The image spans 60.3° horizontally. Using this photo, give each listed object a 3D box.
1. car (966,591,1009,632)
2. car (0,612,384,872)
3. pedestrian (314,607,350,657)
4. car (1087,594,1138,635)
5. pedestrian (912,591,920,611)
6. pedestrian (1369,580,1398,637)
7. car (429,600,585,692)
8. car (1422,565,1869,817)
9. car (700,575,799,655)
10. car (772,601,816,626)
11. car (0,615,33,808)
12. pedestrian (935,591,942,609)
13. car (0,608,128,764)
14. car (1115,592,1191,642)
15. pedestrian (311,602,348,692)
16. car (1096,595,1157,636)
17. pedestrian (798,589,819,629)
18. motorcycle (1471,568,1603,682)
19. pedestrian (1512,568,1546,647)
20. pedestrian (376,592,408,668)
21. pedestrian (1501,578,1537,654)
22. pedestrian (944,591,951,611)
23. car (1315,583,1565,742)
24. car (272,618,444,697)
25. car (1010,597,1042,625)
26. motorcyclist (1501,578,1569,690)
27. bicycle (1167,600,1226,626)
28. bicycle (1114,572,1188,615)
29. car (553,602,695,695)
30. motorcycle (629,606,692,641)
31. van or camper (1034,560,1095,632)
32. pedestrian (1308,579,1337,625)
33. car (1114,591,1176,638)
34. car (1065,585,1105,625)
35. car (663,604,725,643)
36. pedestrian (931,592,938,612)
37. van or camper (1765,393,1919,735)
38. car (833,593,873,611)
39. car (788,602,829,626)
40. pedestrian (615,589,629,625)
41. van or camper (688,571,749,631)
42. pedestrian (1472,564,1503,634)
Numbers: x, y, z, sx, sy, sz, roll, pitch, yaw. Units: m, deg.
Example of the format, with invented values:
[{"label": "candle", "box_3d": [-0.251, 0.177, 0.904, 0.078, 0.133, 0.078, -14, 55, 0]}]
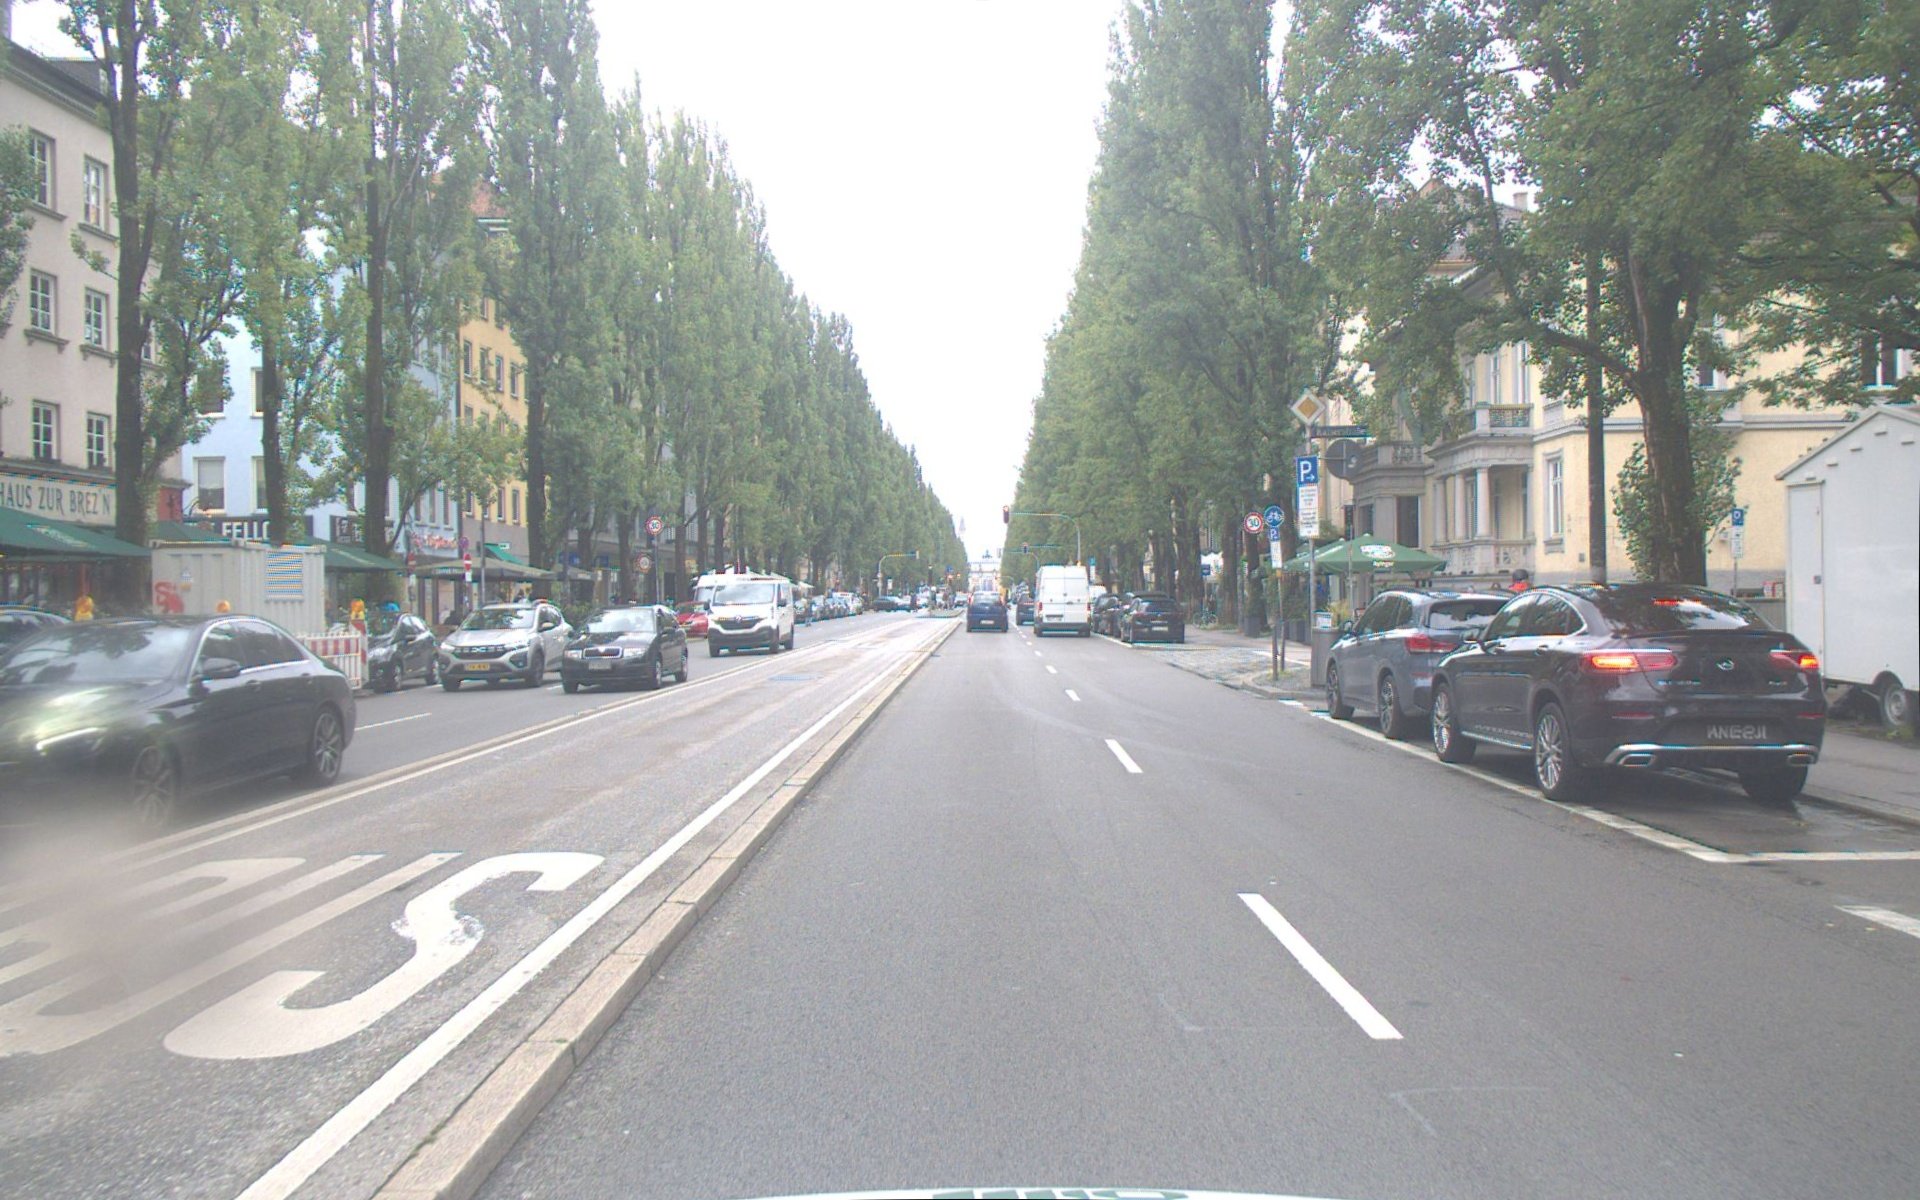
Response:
[{"label": "car", "box_3d": [1.126, 0.475, 67.406, 1.723, 1.648, 3.747, 0, -1, 1]}, {"label": "car", "box_3d": [-6.106, 0.890, 12.223, 1.953, 1.457, 4.772, -2, 0, 0]}, {"label": "pedestrian", "box_3d": [-20.068, 1.015, 52.865, 0.778, 1.569, 0.898, -1, 0, 0]}, {"label": "car", "box_3d": [6.185, 0.601, 67.423, 1.767, 1.624, 4.000, 0, -1, 0]}, {"label": "pedestrian", "box_3d": [-3.850, 0.102, 144.749, 0.541, 1.746, 0.493, -2, 0, 1]}, {"label": "pedestrian", "box_3d": [14.302, 0.273, 55.895, 0.745, 1.886, 0.740, -1, 0, -3]}, {"label": "car", "box_3d": [-8.424, 0.830, 31.115, 1.788, 1.559, 4.000, -2, -1, 0]}, {"label": "car", "box_3d": [5.287, 0.606, 13.512, 1.842, 1.670, 4.584, -1, 0, 2]}, {"label": "car", "box_3d": [-5.694, 0.408, 45.338, 1.953, 1.967, 4.918, -3, -1, 0]}, {"label": "car", "box_3d": [-9.766, 0.789, 97.481, 1.951, 1.445, 4.002, 0, -1, 4]}, {"label": "car", "box_3d": [-8.871, 0.928, 12.049, 1.810, 1.592, 4.212, -1, -1, 0]}, {"label": "pedestrian", "box_3d": [-2.385, 0.011, 184.770, 0.754, 2.049, 0.897, 0, -1, 0]}, {"label": "car", "box_3d": [-11.034, 0.948, 17.817, 1.810, 1.592, 4.334, -1, 1, 2]}, {"label": "car", "box_3d": [6.072, 0.504, 52.390, 1.904, 1.493, 4.000, -1, 0, 0]}, {"label": "pedestrian", "box_3d": [-12.320, 0.906, 32.331, 0.471, 1.731, 0.575, -1, 0, 0]}, {"label": "car", "box_3d": [6.314, 0.592, 63.122, 1.952, 1.490, 4.000, 0, -1, 0]}, {"label": "pedestrian", "box_3d": [-7.960, 0.478, 86.817, 0.802, 2.049, 0.711, -1, 0, -35]}, {"label": "motorcycle", "box_3d": [7.550, 0.313, 21.769, 0.810, 1.394, 2.251, -2, 0, -3]}, {"label": "pedestrian", "box_3d": [13.964, 0.184, 40.590, 0.686, 1.905, 0.766, 0, -1, 10]}, {"label": "pedestrian", "box_3d": [-13.876, 0.732, 40.406, 0.654, 1.818, 0.826, 1, -1, -15]}, {"label": "pedestrian", "box_3d": [12.433, 0.348, 36.767, 0.655, 1.679, 0.625, -1, 0, 27]}, {"label": "pedestrian", "box_3d": [-1.117, 0.067, 146.013, 0.541, 1.746, 0.493, -2, 0, 1]}, {"label": "car", "box_3d": [5.381, 0.632, 19.121, 1.590, 1.592, 4.371, -1, 0, 0]}, {"label": "car", "box_3d": [-10.874, 1.006, 30.144, 1.773, 1.272, 3.700, -1, 0, 0]}, {"label": "car", "box_3d": [3.278, 0.557, 82.356, 1.473, 1.336, 3.283, -1, 0, 0]}, {"label": "motorcyclist", "box_3d": [7.562, 0.433, 21.773, 0.553, 1.431, 0.765, -2, 0, -3]}, {"label": "bicycle", "box_3d": [9.704, 0.527, 67.991, 0.752, 1.041, 2.701, -1, 0, -34]}, {"label": "bicycle", "box_3d": [9.165, -0.297, 79.466, 3.473, 2.049, 1.298, 0, -1, 9]}, {"label": "car", "box_3d": [-5.730, 0.780, 28.603, 1.676, 1.438, 3.723, -1, 0, 0]}, {"label": "motorcycle", "box_3d": [-10.639, 0.815, 58.893, 1.212, 1.160, 3.719, -1, 0, 5]}, {"label": "van or camper", "box_3d": [3.831, -0.120, 61.061, 1.993, 2.519, 4.000, -1, -1, 0]}, {"label": "pedestrian", "box_3d": [14.252, 0.076, 64.951, 0.798, 1.786, 0.931, -2, 0, 33]}, {"label": "car", "box_3d": [6.451, 0.489, 58.020, 1.748, 1.551, 3.940, -1, 0, 0]}, {"label": "car", "box_3d": [6.371, 0.271, 84.825, 1.767, 2.027, 4.000, 0, -1, 0]}, {"label": "car", "box_3d": [-10.442, 0.926, 65.095, 1.758, 1.454, 4.000, 0, -1, 0]}, {"label": "pedestrian", "box_3d": [-2.249, 0.156, 144.186, 0.541, 1.746, 0.493, -2, 0, 1]}, {"label": "van or camper", "box_3d": [10.133, -0.367, 15.996, 2.409, 3.166, 4.716, -2, 0, 1]}, {"label": "car", "box_3d": [-10.765, 0.177, 165.878, 3.911, 1.775, 1.997, 0, -1, -8]}, {"label": "car", "box_3d": [-9.526, 0.875, 104.115, 1.951, 1.445, 4.002, 0, -1, 4]}, {"label": "pedestrian", "box_3d": [-17.662, 0.362, 86.368, 0.570, 1.889, 0.675, -1, 0, -1]}, {"label": "van or camper", "box_3d": [-10.396, 0.038, 71.513, 1.952, 2.501, 4.251, -1, 0, 0]}, {"label": "pedestrian", "box_3d": [12.890, -0.022, 40.432, 0.634, 1.675, 0.766, 0, -1, 10]}]
